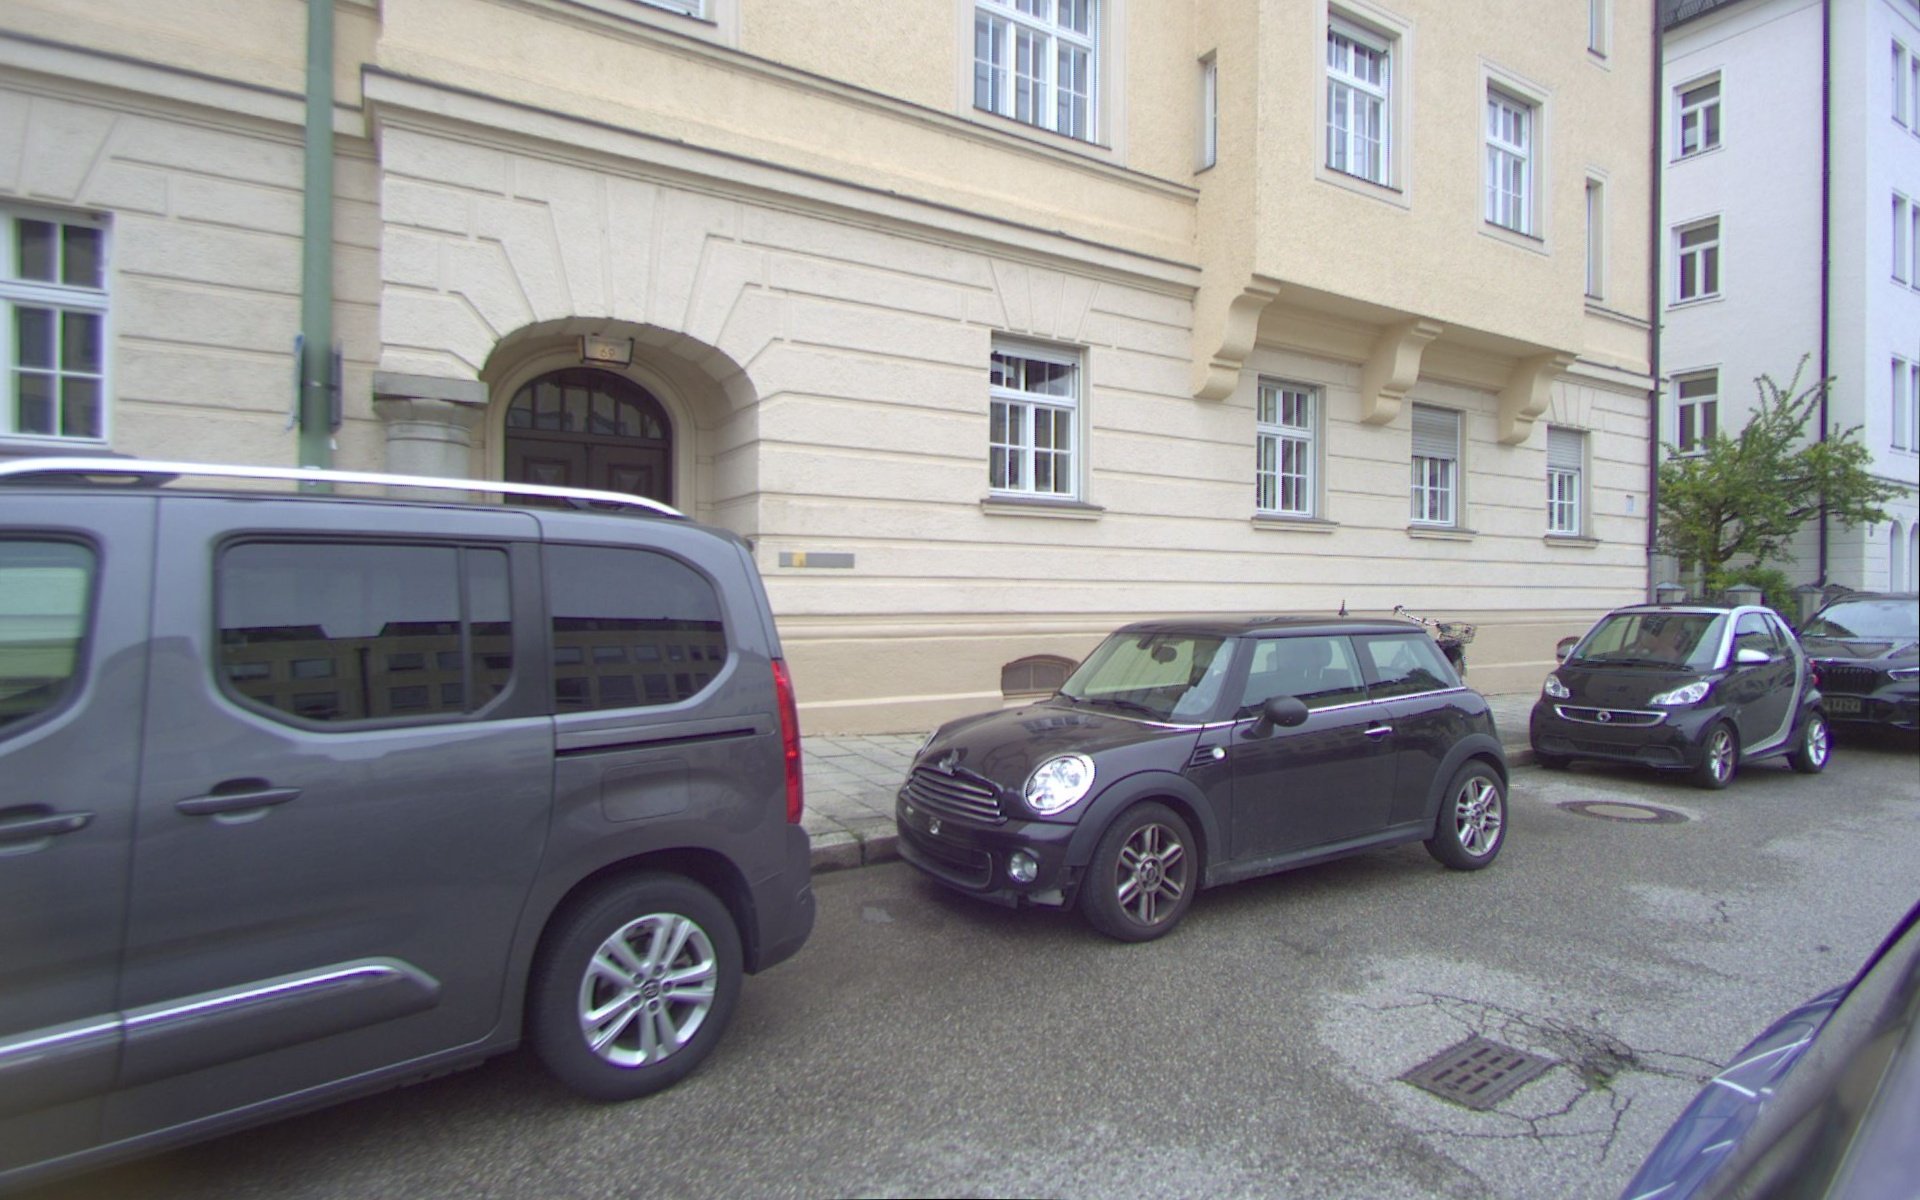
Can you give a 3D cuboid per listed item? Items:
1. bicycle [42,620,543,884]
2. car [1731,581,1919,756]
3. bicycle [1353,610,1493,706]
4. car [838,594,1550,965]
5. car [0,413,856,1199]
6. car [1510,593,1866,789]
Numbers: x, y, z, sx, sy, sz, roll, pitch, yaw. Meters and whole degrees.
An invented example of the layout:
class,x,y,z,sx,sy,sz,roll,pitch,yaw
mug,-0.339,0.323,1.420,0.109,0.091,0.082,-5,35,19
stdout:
class,x,y,z,sx,sy,sz,roll,pitch,yaw
bicycle,-3.089,0.625,4.873,1.917,1.027,0.580,0,0,-38
car,11.251,0.691,11.871,4.769,1.739,1.876,0,-1,-31
bicycle,5.811,0.697,12.671,1.914,1.096,0.582,1,2,-32
car,1.387,0.719,5.709,3.753,1.466,1.715,0,-1,-30
car,-2.526,0.543,2.757,4.200,1.830,1.781,0,-1,-40
car,6.777,0.724,9.402,3.048,1.543,1.541,0,-1,-30
